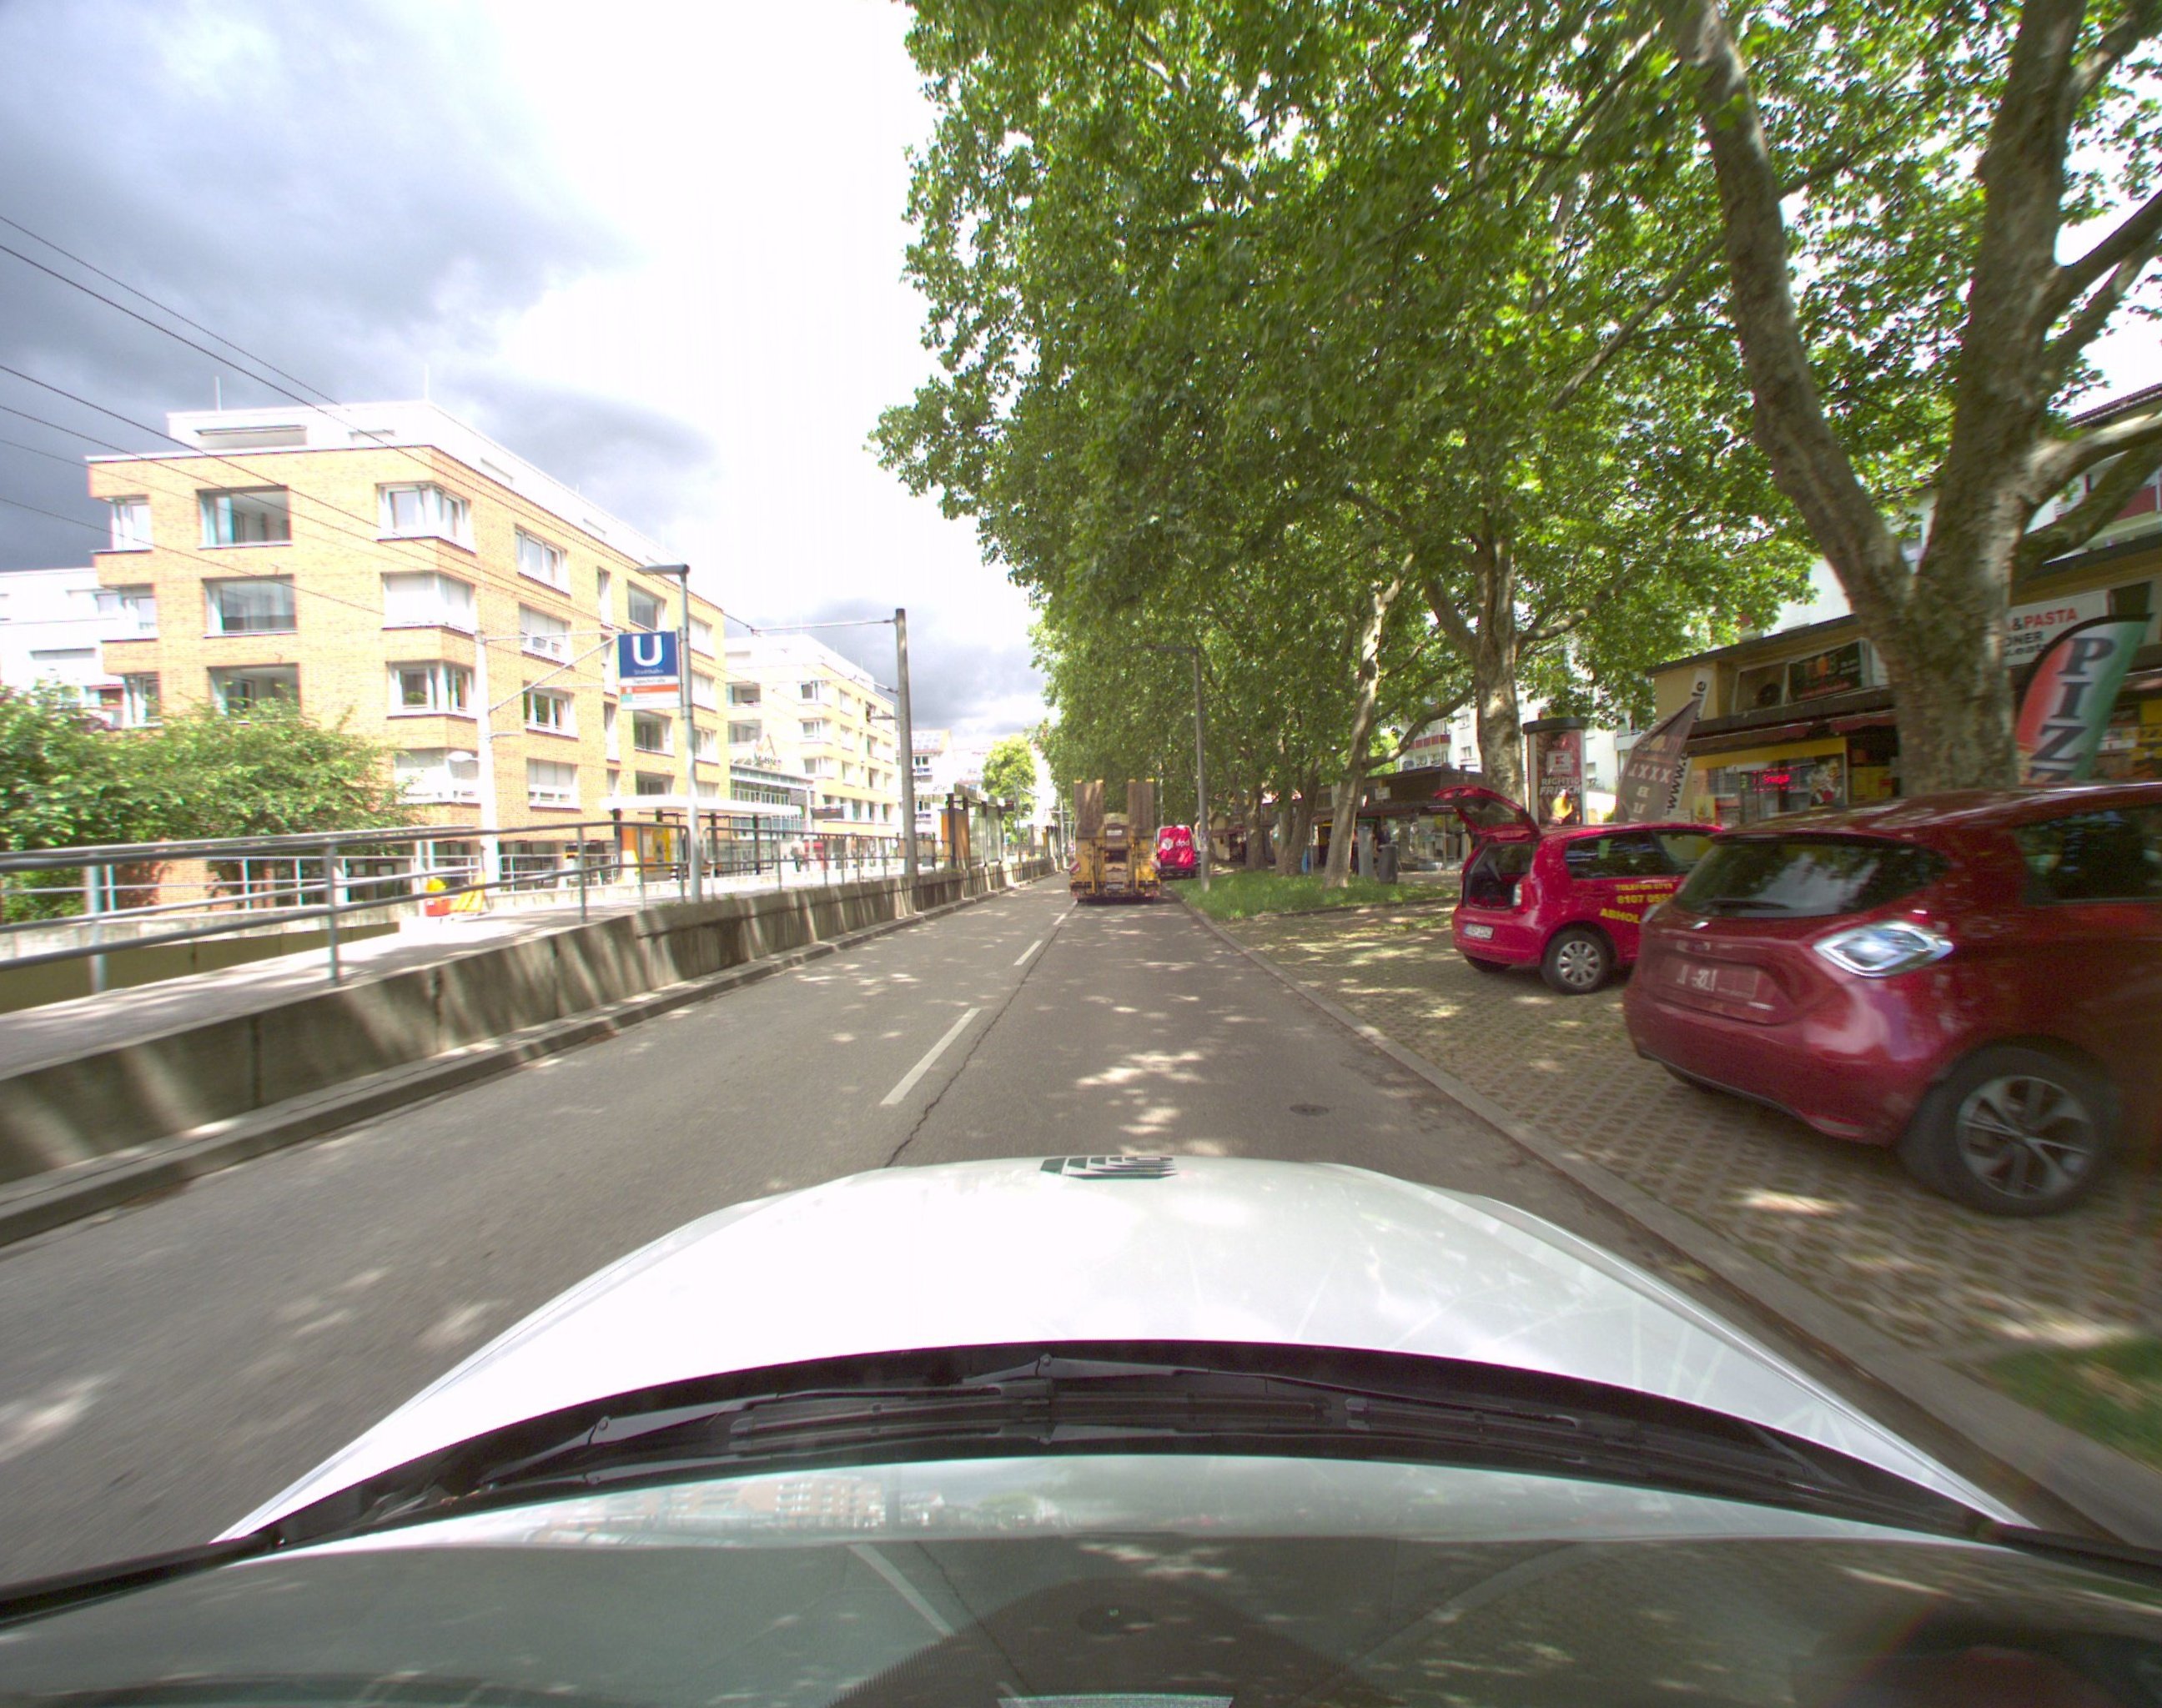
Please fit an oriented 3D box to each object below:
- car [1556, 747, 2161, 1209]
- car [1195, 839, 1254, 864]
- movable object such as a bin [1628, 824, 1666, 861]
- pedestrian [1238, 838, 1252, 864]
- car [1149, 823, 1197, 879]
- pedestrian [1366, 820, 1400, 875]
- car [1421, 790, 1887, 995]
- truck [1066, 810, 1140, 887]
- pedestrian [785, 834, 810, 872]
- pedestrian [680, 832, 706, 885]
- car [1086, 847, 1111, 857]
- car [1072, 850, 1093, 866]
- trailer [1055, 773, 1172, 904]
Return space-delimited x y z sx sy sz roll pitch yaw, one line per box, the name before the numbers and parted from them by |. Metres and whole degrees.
car | 4.782 0.340 3.777 4.010 1.611 1.733 -5 0 5
car | 10.179 -0.159 57.848 3.822 1.562 1.617 -3 -1 -4
movable object such as a bin | 16.530 -0.321 23.793 0.622 1.033 0.647 -3 -1 -1
pedestrian | 11.154 -0.197 55.375 0.757 1.724 0.658 -4 0 -2
car | 4.677 -0.146 42.420 1.897 2.581 6.839 -4 0 3
pedestrian | 10.809 -0.233 29.195 0.740 1.883 0.942 -4 -1 2
car | 5.444 0.340 8.042 3.398 1.514 1.609 -5 0 -2
truck | 0.950 -0.219 37.465 2.979 3.135 7.887 -1 0 0
pedestrian | -12.441 -0.033 35.733 0.748 1.629 0.816 -1 0 3
pedestrian | -13.155 0.145 27.624 0.532 1.763 0.528 -3 -1 0
car | 3.890 -0.411 182.214 5.092 2.102 1.969 -2 0 -12
car | 0.162 0.335 71.755 1.726 1.396 3.752 -1 0 1
trailer | 0.906 -0.410 27.995 3.144 3.552 11.094 -1 0 0
